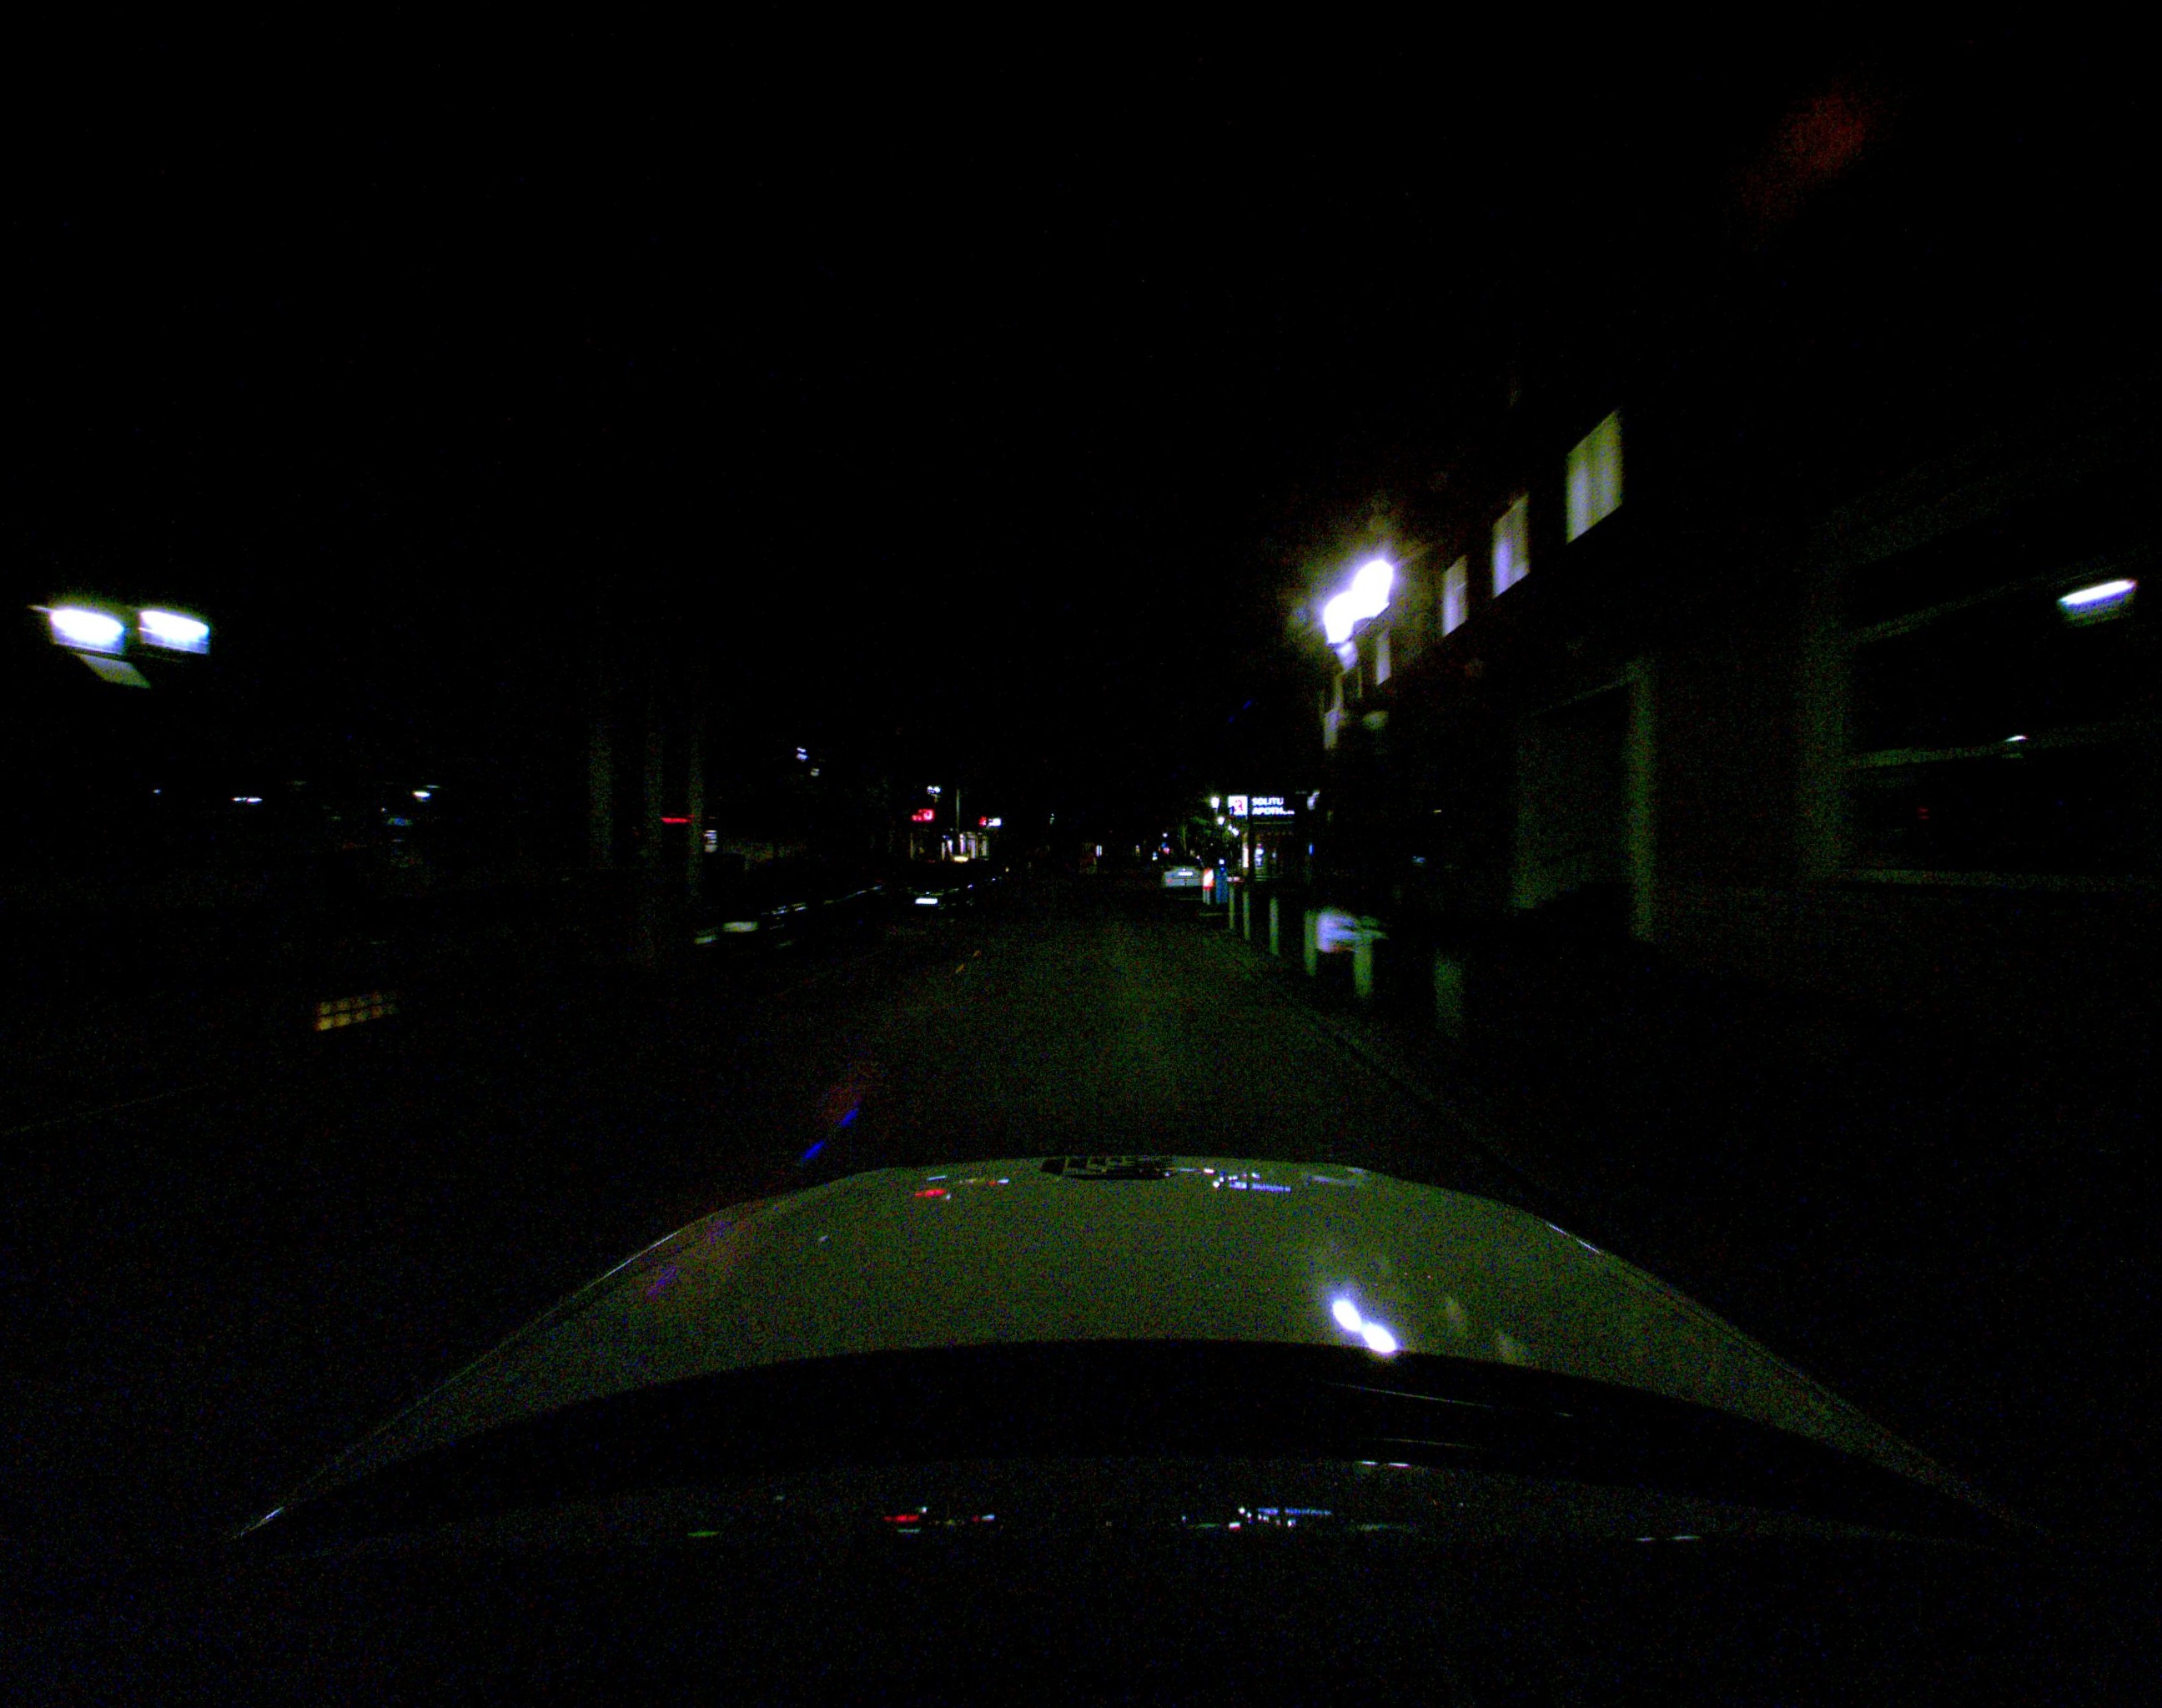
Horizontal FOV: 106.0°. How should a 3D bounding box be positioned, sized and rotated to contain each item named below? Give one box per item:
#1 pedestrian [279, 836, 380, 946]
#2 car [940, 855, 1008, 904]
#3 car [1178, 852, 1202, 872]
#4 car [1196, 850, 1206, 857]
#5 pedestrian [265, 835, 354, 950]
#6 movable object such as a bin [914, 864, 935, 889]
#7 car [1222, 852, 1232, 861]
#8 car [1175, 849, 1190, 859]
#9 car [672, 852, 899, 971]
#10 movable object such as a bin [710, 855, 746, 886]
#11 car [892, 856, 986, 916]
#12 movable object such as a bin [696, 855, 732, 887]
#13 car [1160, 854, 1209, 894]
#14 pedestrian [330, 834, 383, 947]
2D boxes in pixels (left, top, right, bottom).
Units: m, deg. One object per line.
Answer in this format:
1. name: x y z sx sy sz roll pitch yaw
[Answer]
1. pedestrian: -13.009 0.611 14.125 0.785 1.817 1.029 0 0 22
2. car: -3.879 0.880 30.210 1.752 1.637 4.816 -1 0 1
3. car: 8.287 0.562 61.933 1.725 1.440 4.506 -1 0 7
4. car: 28.456 -0.099 192.989 1.900 1.370 4.475 -1 1 15
5. pedestrian: -12.731 0.609 13.448 0.870 1.831 0.795 0 0 28
6. movable object such as a bin: -6.926 0.977 36.024 0.744 1.065 0.793 -1 -1 2
7. car: 25.784 0.433 143.357 1.664 1.459 3.687 -1 0 11
8. car: 17.349 -0.034 139.469 2.004 1.691 5.021 0 1 13
9. car: -4.467 0.776 13.159 1.763 1.574 4.487 0 0 4
10. movable object such as a bin: -16.888 0.786 38.948 1.126 1.457 1.229 0 -1 4
11. car: -3.998 0.852 23.683 1.899 1.542 4.781 0 0 0
12. movable object such as a bin: -16.959 0.769 37.634 1.032 1.444 1.287 0 -1 4
13. car: 4.071 0.783 32.698 1.734 1.487 4.642 -1 -1 5
14. pedestrian: -11.947 0.594 13.441 0.496 1.822 0.506 -2 -1 27
